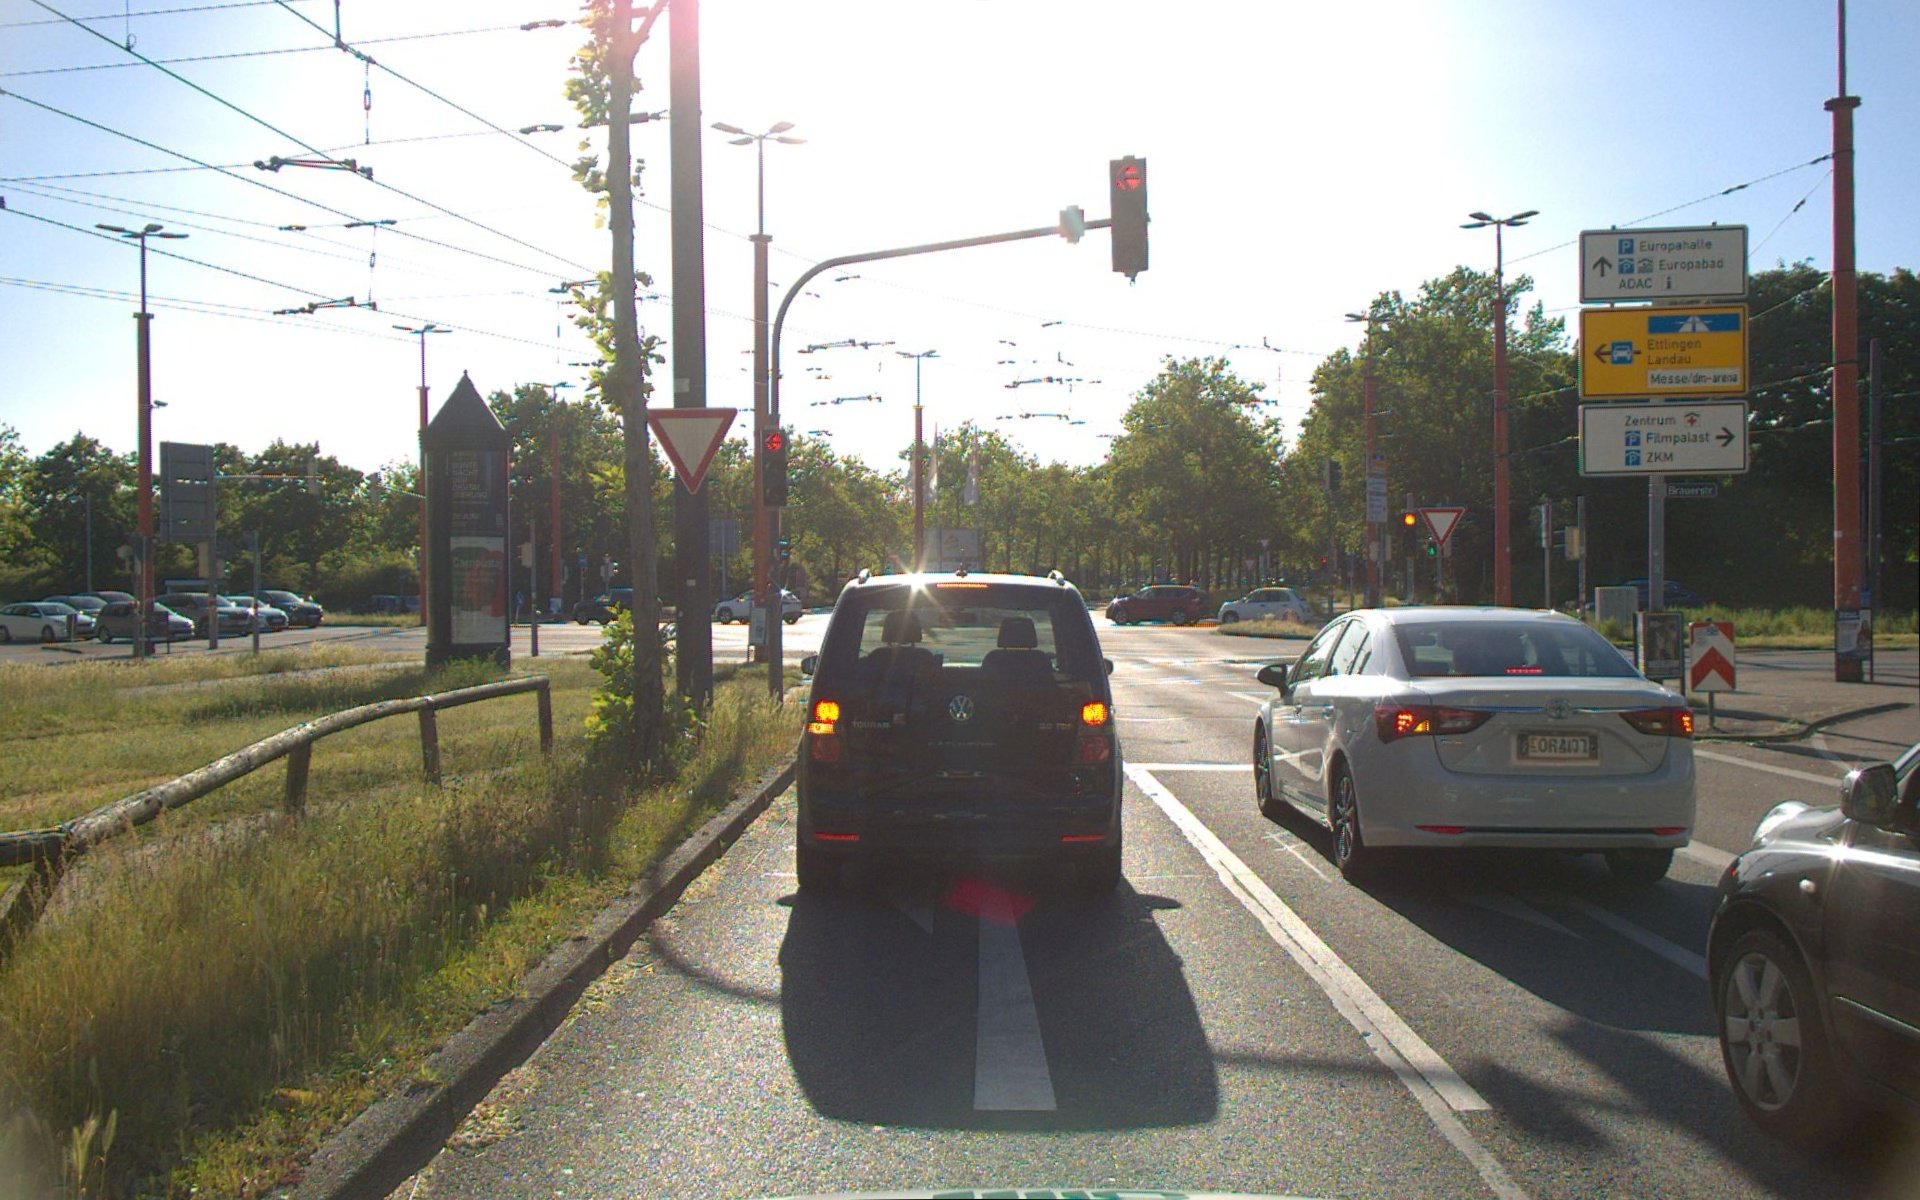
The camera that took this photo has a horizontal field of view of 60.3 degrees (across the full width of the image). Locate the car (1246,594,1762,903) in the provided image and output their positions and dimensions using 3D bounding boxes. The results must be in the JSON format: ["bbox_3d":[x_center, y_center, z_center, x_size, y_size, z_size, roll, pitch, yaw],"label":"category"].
[{"bbox_3d":[3.013,0.729,10.182,1.762,1.465,4.326,1,0,0],"label":"car"}]

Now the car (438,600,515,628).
[{"bbox_3d":[-25.324,0.720,86.657,3.717,1.427,1.655,0,0,26],"label":"car"}]

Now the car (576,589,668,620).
[{"bbox_3d":[-15.921,0.192,77.899,4.035,1.427,1.656,0,0,23],"label":"car"}]

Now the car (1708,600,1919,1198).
[{"bbox_3d":[3.134,0.743,3.485,1.544,1.465,3.441,1,0,0],"label":"car"}]

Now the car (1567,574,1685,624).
[{"bbox_3d":[24.930,-0.043,61.921,4.037,1.822,1.797,0,0,25],"label":"car"}]

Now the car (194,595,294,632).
[{"bbox_3d":[-29.410,0.528,67.922,4.060,1.440,1.542,0,0,26],"label":"car"}]

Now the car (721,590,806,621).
[{"bbox_3d":[-9.341,0.247,78.668,3.718,1.427,1.655,0,0,27],"label":"car"}]

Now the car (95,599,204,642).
[{"bbox_3d":[-29.549,0.727,60.296,3.755,1.466,1.655,0,0,27],"label":"car"}]

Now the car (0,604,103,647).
[{"bbox_3d":[-34.943,0.965,63.249,4.536,1.546,1.654,0,0,30],"label":"car"}]

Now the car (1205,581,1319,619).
[{"bbox_3d":[11.733,-0.015,64.263,4.039,1.427,1.655,0,0,27],"label":"car"}]

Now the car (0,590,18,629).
[{"bbox_3d":[-42.990,0.378,71.630,4.541,1.676,1.753,0,0,30],"label":"car"}]

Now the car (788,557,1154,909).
[{"bbox_3d":[0.065,0.635,9.960,1.703,1.630,4.326,1,0,0],"label":"car"}]

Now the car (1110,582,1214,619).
[{"bbox_3d":[8.519,0.005,69.707,4.039,1.497,1.655,0,0,27],"label":"car"}]

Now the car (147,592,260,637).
[{"bbox_3d":[-29.323,0.537,64.087,4.541,1.676,1.654,0,0,30],"label":"car"}]

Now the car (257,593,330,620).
[{"bbox_3d":[-35.464,0.330,87.998,3.721,1.427,1.653,0,0,30],"label":"car"}]

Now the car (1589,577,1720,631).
[{"bbox_3d":[24.249,0.120,57.770,4.041,1.822,1.796,0,0,29],"label":"car"}]

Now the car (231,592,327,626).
[{"bbox_3d":[-29.473,0.369,71.545,4.060,1.440,1.542,0,0,26],"label":"car"}]
